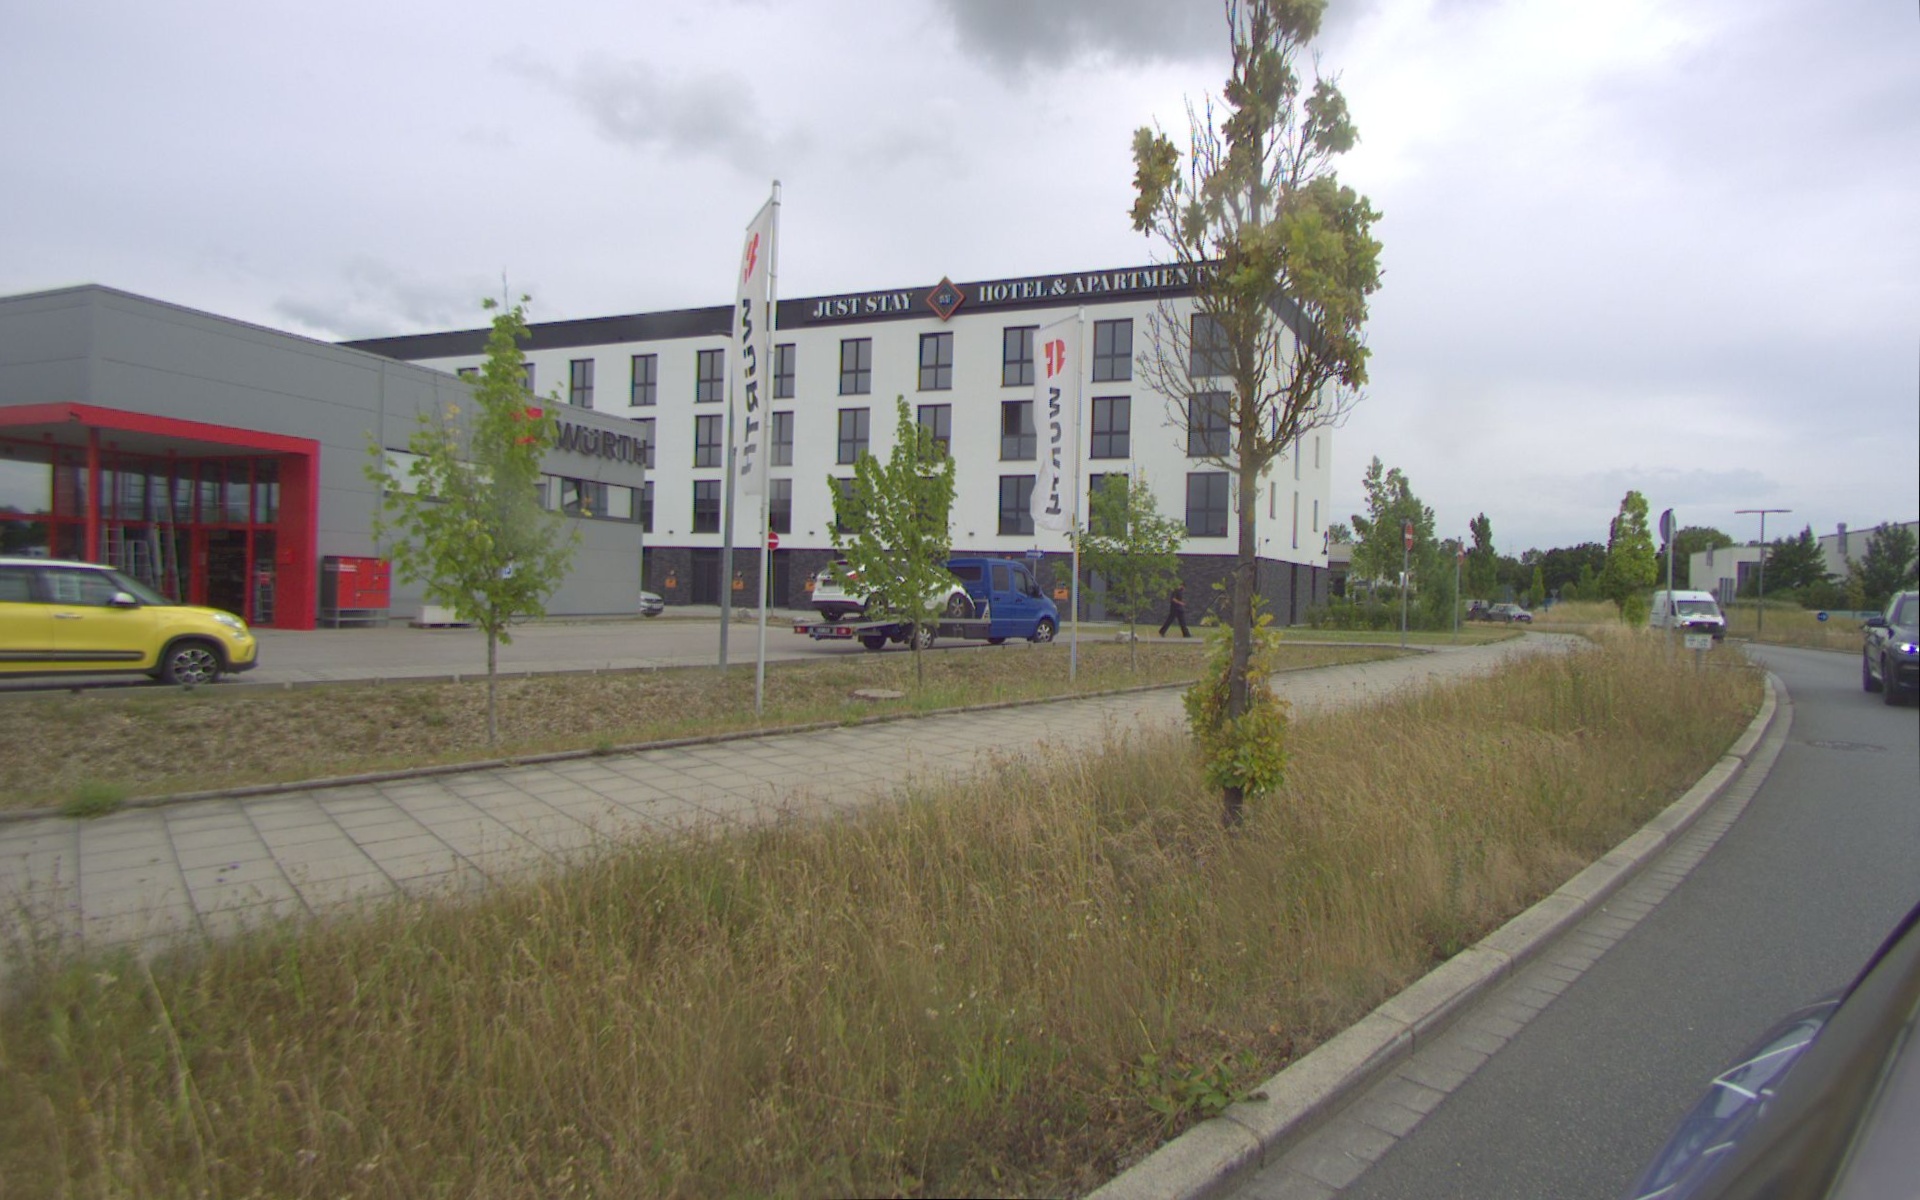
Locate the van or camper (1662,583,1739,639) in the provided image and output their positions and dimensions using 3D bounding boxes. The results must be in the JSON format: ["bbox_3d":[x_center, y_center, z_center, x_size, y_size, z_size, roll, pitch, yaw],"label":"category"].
[{"bbox_3d":[37.513,0.519,51.437,2.245,2.649,5.641,2,1,28],"label":"van or camper"}]

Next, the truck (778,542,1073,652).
[{"bbox_3d":[-0.557,-0.075,25.356,2.227,2.355,8.082,2,1,44],"label":"truck"}]

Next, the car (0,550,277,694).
[{"bbox_3d":[-11.561,0.237,12.981,1.761,1.707,4.346,2,1,40],"label":"car"}]

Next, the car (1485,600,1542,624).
[{"bbox_3d":[40.272,0.831,73.738,1.962,1.605,3.999,1,1,1],"label":"car"}]

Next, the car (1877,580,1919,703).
[{"bbox_3d":[14.956,0.575,14.843,1.990,1.685,3.943,1,0,39],"label":"car"}]

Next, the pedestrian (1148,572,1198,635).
[{"bbox_3d":[6.612,0.077,31.457,1.188,1.880,1.061,2,2,36],"label":"pedestrian"}]

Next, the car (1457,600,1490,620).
[{"bbox_3d":[44.056,0.830,86.764,1.961,1.605,3.949,1,1,35],"label":"car"}]
